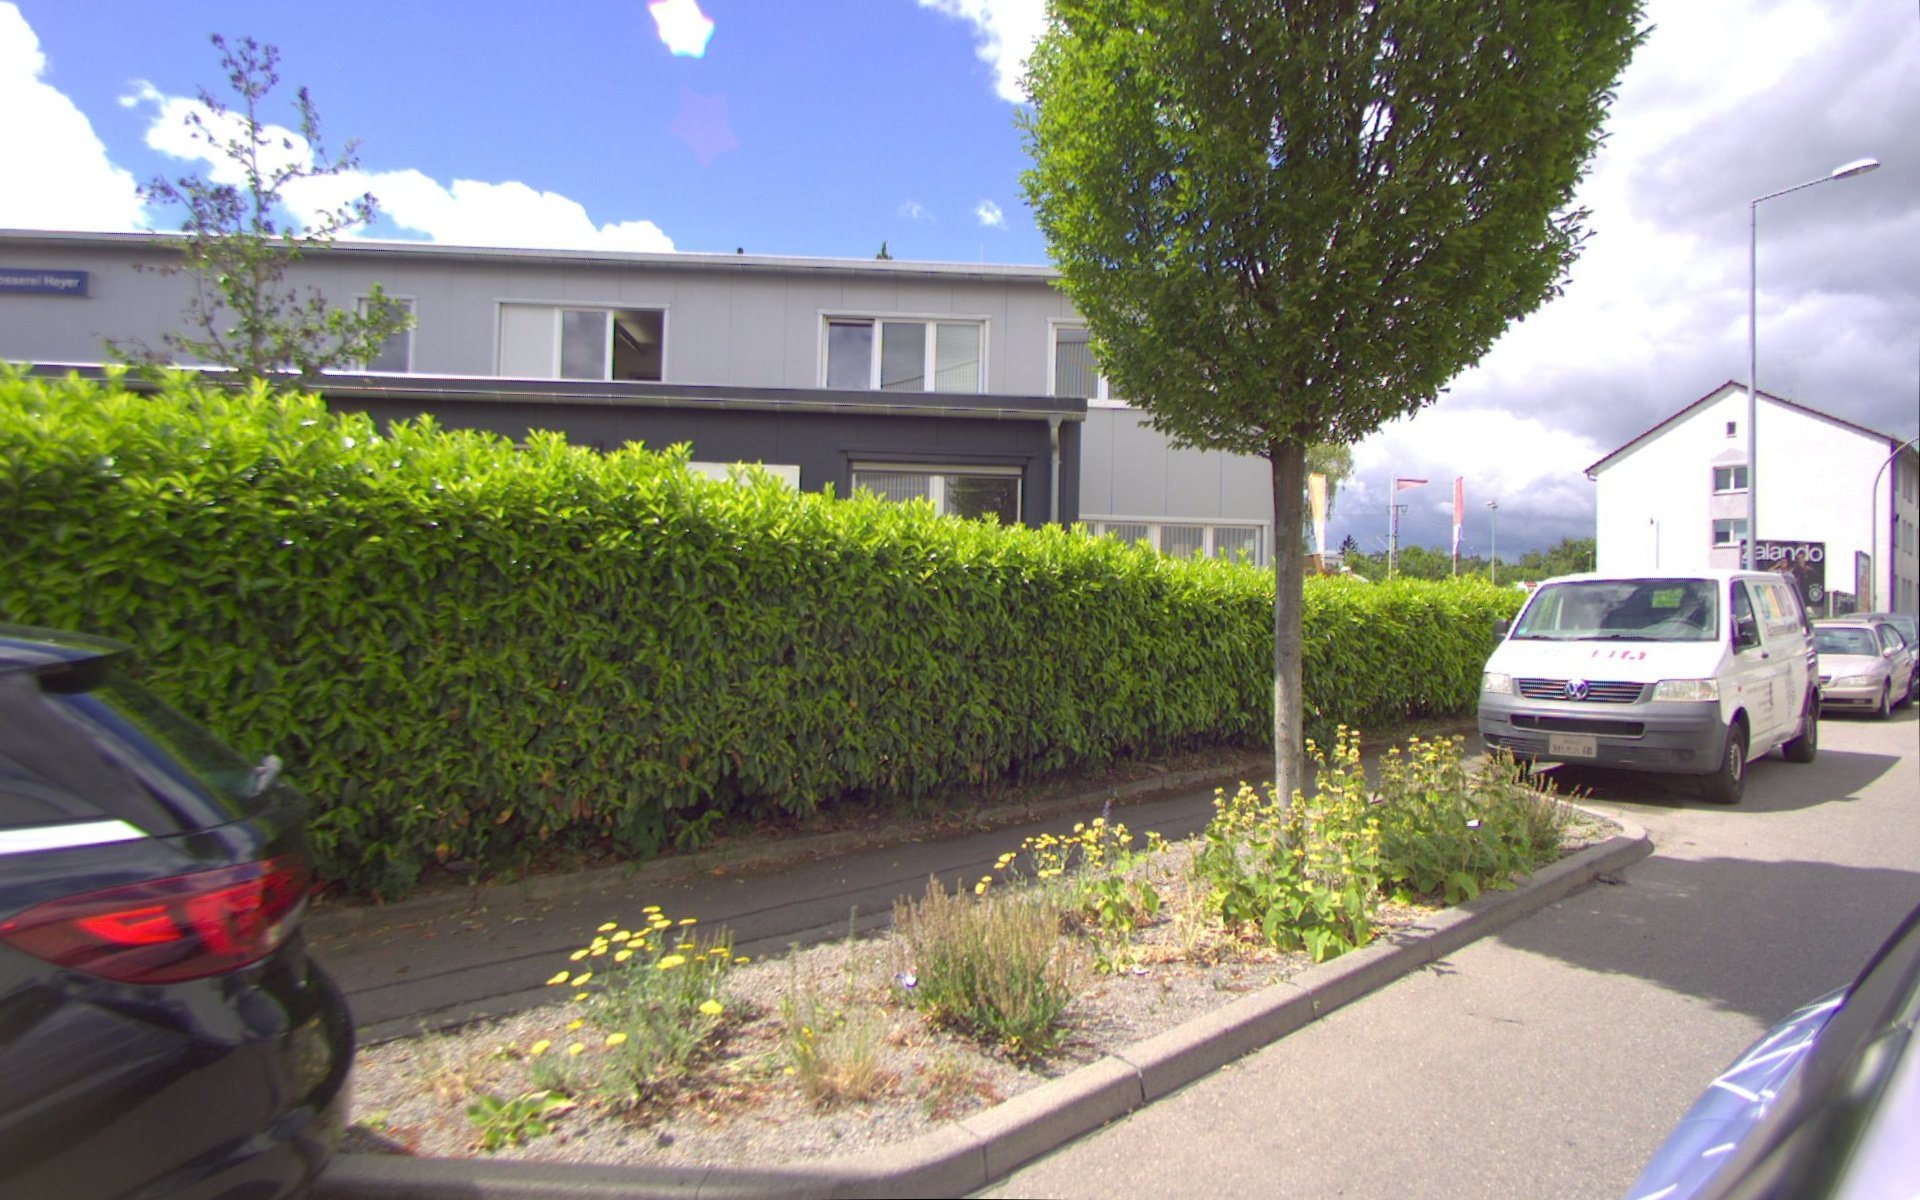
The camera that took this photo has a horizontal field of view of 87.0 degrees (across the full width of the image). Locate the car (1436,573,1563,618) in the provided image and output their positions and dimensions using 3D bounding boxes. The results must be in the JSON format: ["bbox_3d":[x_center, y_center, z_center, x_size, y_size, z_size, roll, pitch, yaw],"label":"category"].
[{"bbox_3d":[31.490,-0.267,59.244,2.238,2.482,6.167,-2,2,-44],"label":"car"}]

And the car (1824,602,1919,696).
[{"bbox_3d":[18.340,0.872,19.622,4.048,1.659,1.683,0,0,-39],"label":"car"}]

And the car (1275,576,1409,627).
[{"bbox_3d":[16.334,0.027,43.450,5.004,2.006,1.834,1,1,3],"label":"car"}]

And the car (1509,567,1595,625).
[{"bbox_3d":[30.604,-0.249,52.240,5.362,2.802,2.280,-2,1,-41],"label":"car"}]

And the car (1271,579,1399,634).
[{"bbox_3d":[13.772,0.212,37.336,3.964,1.895,1.818,1,1,-1],"label":"car"}]

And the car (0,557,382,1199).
[{"bbox_3d":[-3.227,0.678,0.950,4.432,1.492,1.717,0,0,-41],"label":"car"}]

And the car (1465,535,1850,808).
[{"bbox_3d":[6.957,0.522,9.838,5.053,2.015,1.872,0,0,-41],"label":"car"}]

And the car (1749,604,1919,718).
[{"bbox_3d":[14.215,0.850,16.179,4.651,1.559,1.658,0,0,-41],"label":"car"}]

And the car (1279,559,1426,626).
[{"bbox_3d":[17.980,-0.371,46.546,5.866,2.879,2.065,1,1,3],"label":"car"}]
